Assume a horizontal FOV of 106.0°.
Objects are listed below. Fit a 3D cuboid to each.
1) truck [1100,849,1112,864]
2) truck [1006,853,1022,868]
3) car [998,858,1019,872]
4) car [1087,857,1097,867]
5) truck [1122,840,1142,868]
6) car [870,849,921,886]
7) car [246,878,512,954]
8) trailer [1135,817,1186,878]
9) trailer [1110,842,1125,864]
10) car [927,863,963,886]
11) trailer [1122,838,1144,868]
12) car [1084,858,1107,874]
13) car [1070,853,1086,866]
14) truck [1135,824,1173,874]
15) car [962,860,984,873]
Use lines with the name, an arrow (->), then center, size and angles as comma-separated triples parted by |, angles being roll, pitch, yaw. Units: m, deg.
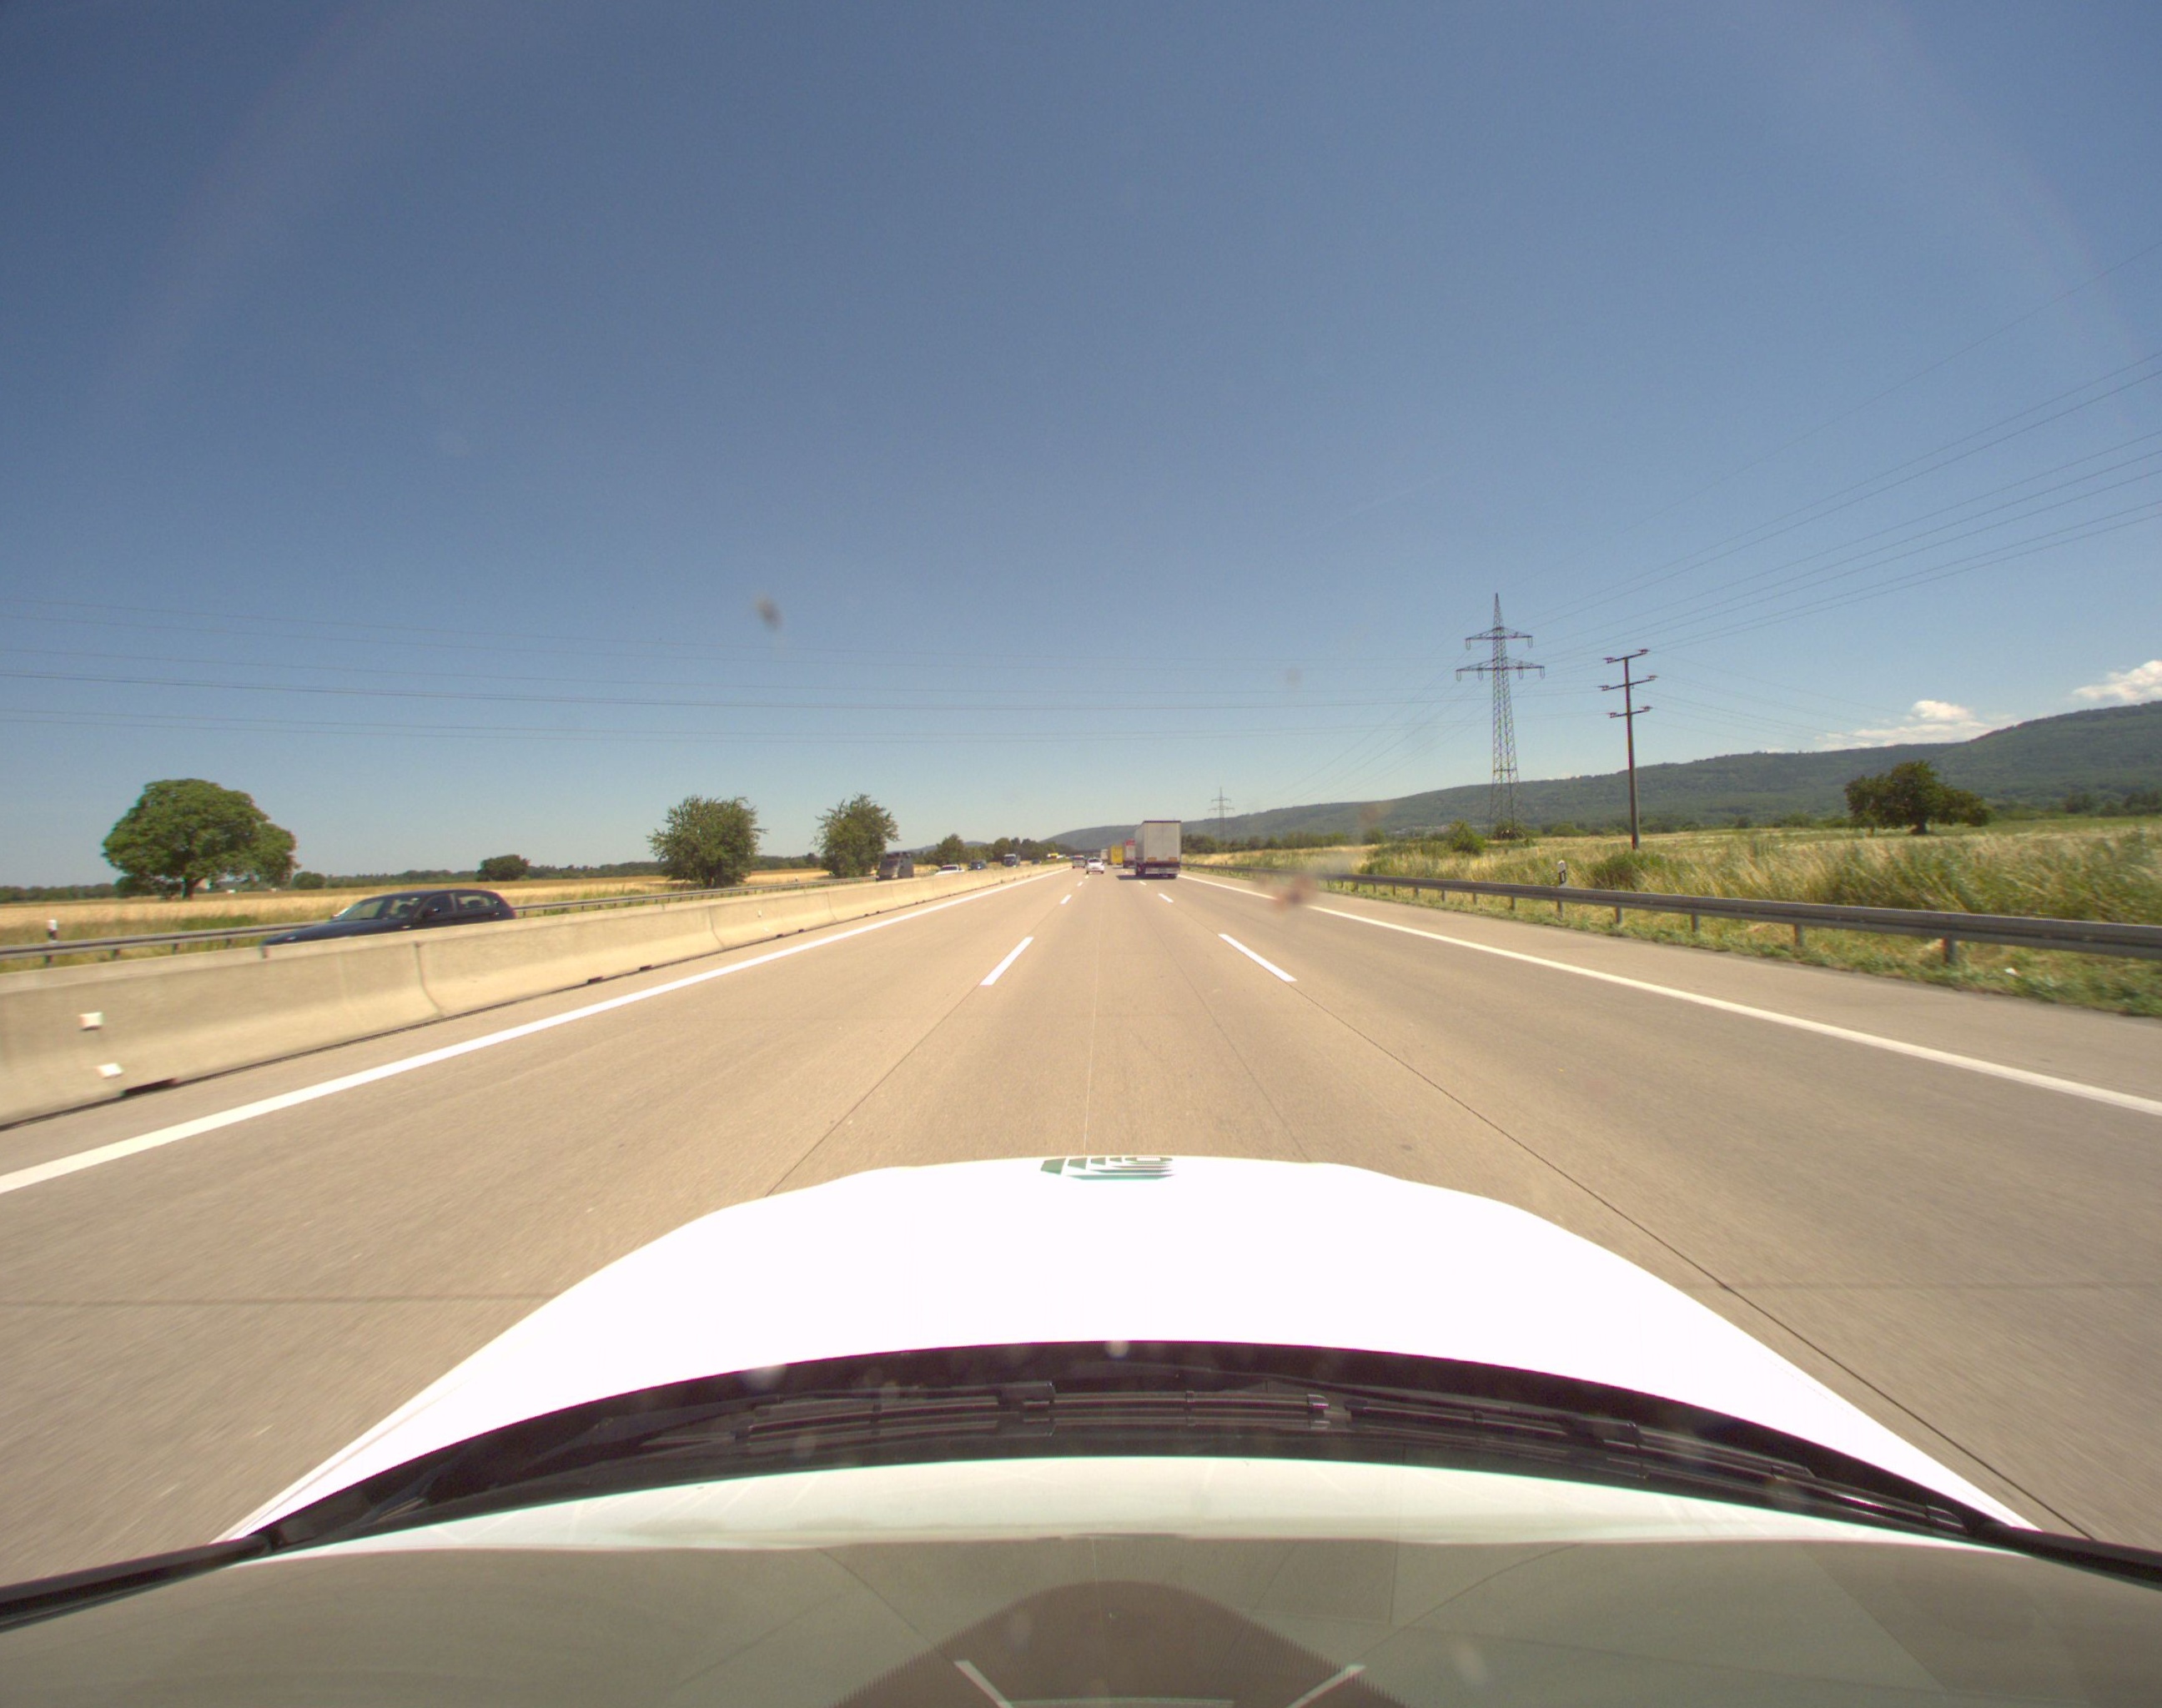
truck -> 7.312, 0.716, 236.933 | 3.340, 4.272, 8.232 | 0, 0, 2
truck -> -14.895, 1.416, 180.999 | 2.796, 3.305, 5.615 | 0, 0, 1
car -> -9.625, 1.487, 108.695 | 1.985, 1.826, 5.829 | 0, 0, 3
car -> 2.123, 1.498, 156.807 | 1.986, 1.957, 4.002 | 0, 0, 2
truck -> 7.714, -0.032, 124.467 | 2.894, 4.101, 6.275 | 0, 0, 2
car -> -14.822, 1.054, 65.662 | 2.239, 2.786, 6.796 | 0, 0, 3
car -> -12.102, 1.010, 14.376 | 1.515, 1.053, 3.526 | 0, 0, 3
trailer -> 5.798, -0.408, 61.815 | 3.006, 4.061, 14.214 | 0, 0, 2
trailer -> 7.914, -0.142, 179.630 | 3.203, 4.564, 13.462 | 0, 0, 2
car -> -10.682, 1.589, 64.447 | 1.866, 1.652, 5.109 | 0, 0, 1
trailer -> 7.472, -0.057, 118.461 | 2.862, 4.101, 13.520 | 0, 0, 3
car -> 1.427, 1.135, 79.250 | 2.098, 1.536, 4.125 | 0, 0, 3
car -> -0.417, 0.813, 124.483 | 2.246, 2.014, 4.300 | 0, 0, 2
truck -> 6.135, -0.383, 69.158 | 2.972, 4.062, 5.481 | 0, 0, 2
car -> -14.382, 1.658, 108.821 | 2.161, 1.790, 4.002 | 0, 0, 2
